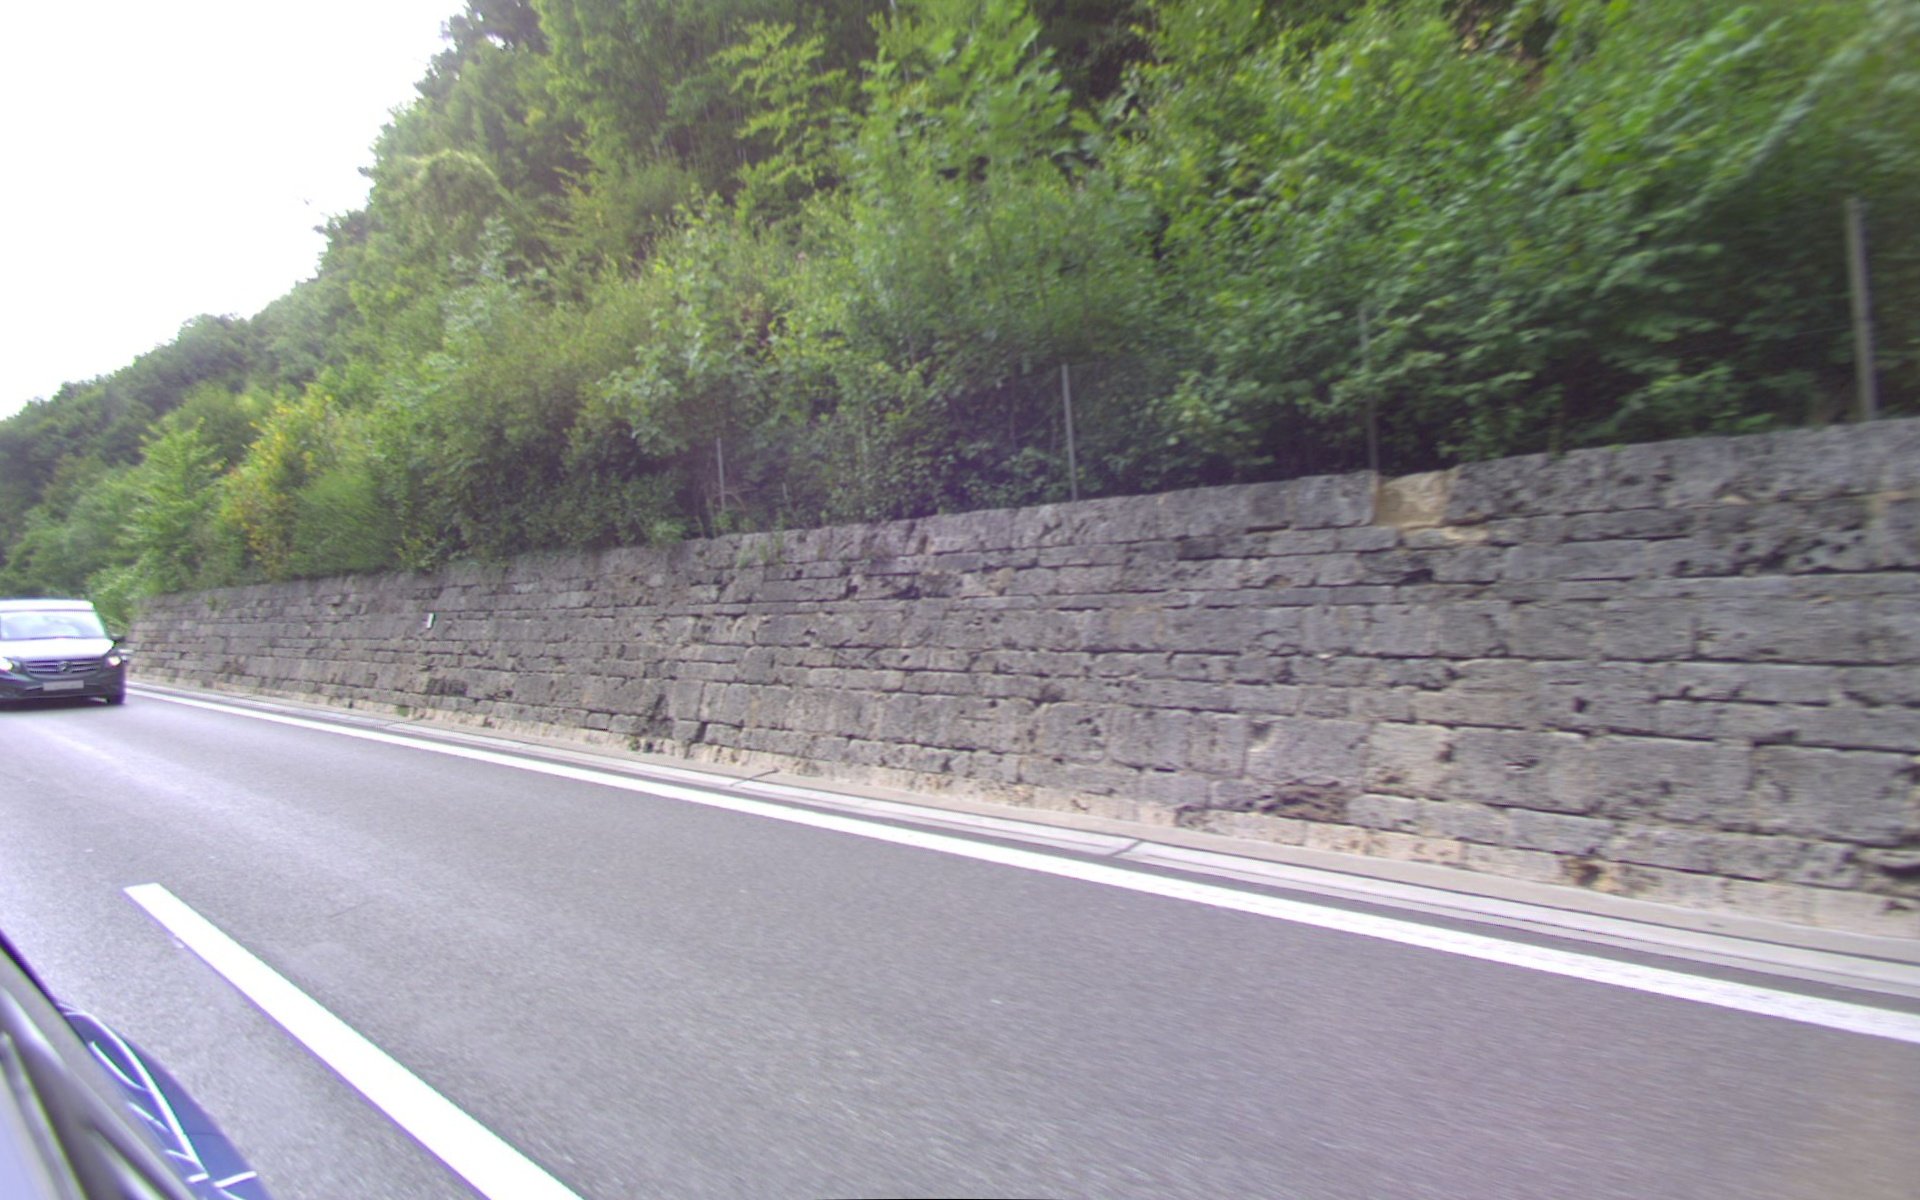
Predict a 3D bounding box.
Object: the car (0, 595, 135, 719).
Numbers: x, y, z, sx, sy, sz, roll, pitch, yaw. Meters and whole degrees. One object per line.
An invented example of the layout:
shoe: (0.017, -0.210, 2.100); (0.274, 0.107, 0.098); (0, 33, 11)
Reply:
car: (-17.522, 1.028, 19.260); (5.539, 2.029, 1.972); (-2, -1, 42)

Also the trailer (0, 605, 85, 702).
trailer: (-20.826, 1.157, 22.268); (3.429, 1.954, 1.950); (-2, -1, 42)
